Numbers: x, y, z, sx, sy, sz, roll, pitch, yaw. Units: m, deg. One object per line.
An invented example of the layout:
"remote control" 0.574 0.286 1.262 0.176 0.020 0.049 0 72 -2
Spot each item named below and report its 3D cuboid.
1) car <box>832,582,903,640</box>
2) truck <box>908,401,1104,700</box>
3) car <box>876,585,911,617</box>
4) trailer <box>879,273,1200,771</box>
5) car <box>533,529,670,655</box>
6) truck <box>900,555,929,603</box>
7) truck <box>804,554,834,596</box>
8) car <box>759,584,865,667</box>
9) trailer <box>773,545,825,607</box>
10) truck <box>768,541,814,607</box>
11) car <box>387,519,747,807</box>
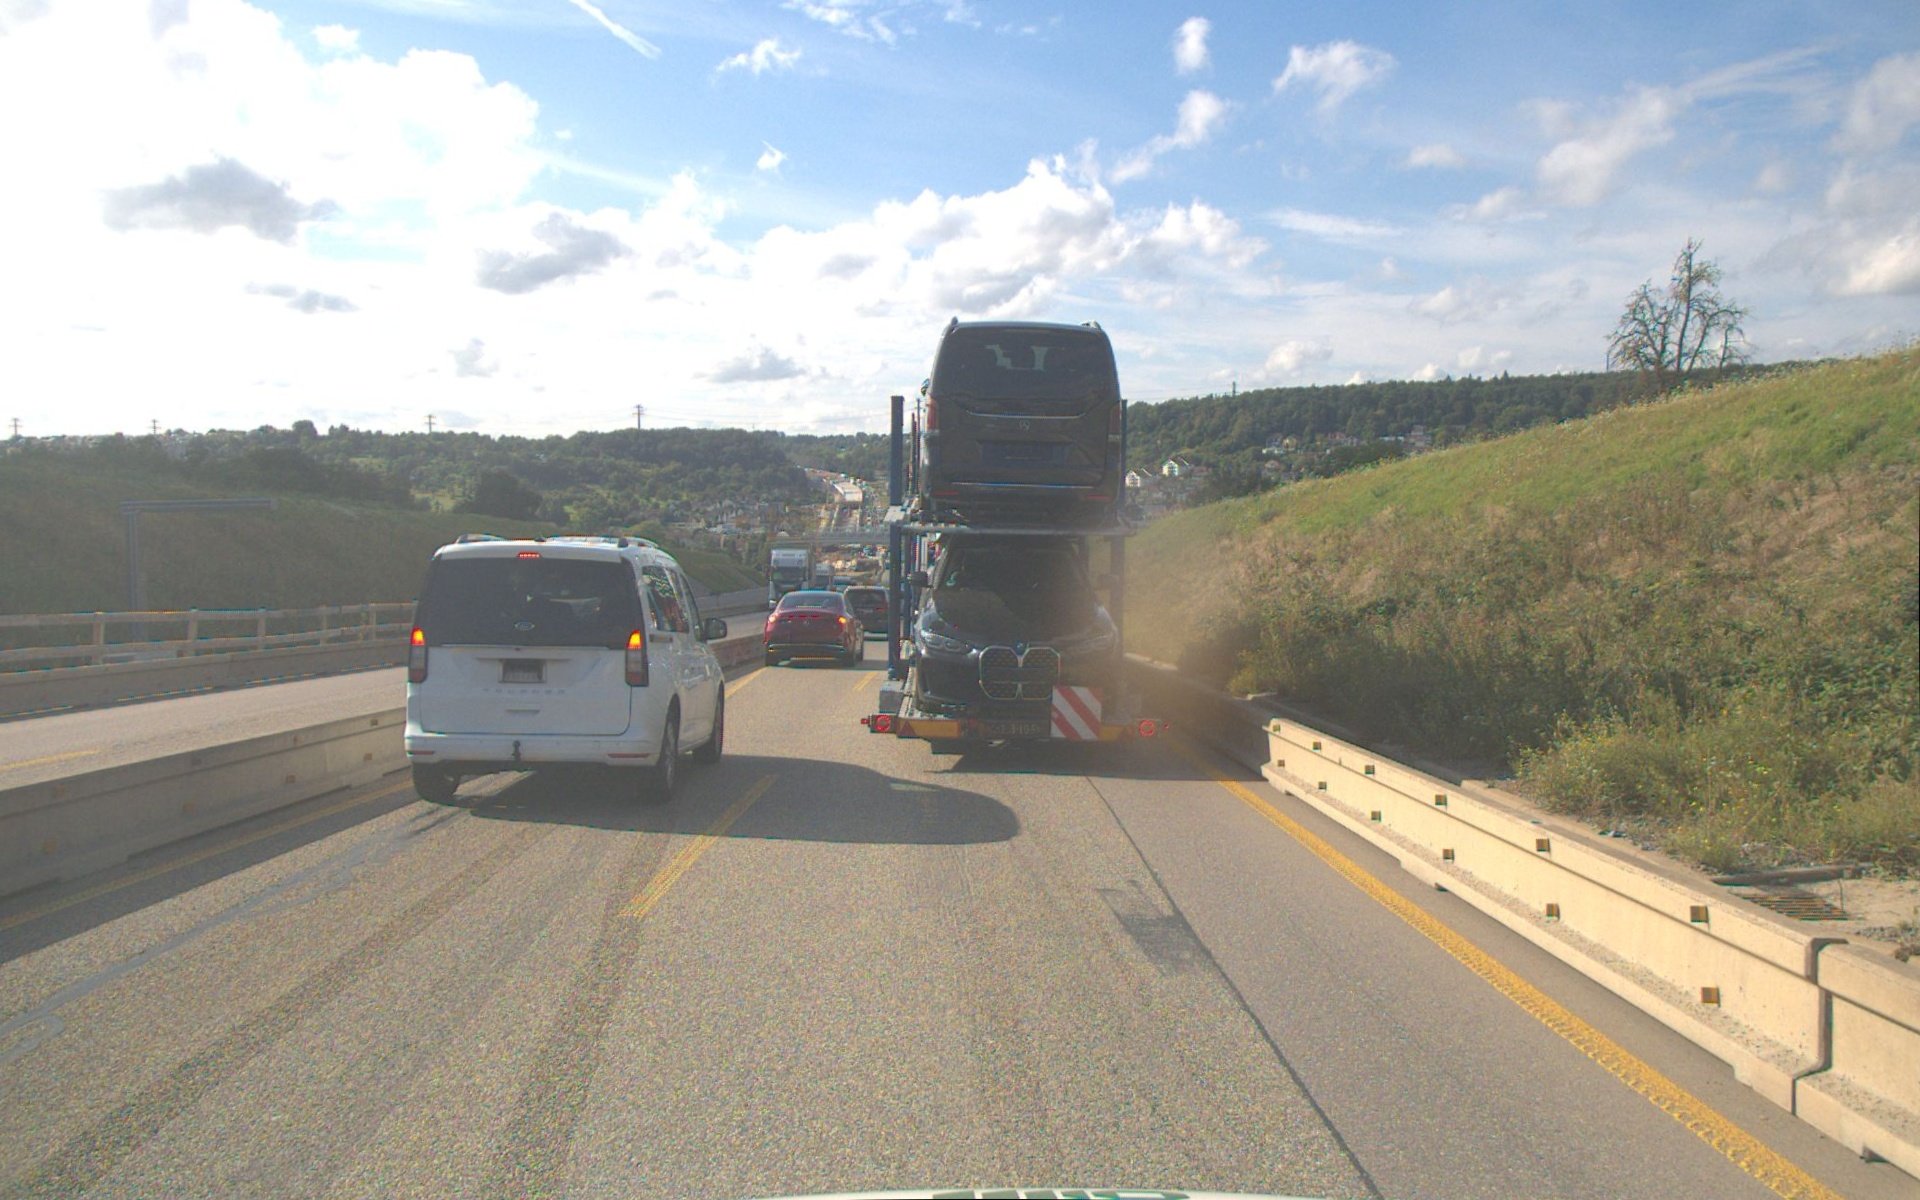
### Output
"car" -2.853 0.311 51.814 1.953 1.653 4.749 2 0 -1
"truck" 0.563 -0.687 25.166 2.623 3.990 6.026 0 0 -1
"car" -3.488 0.033 87.207 1.760 1.624 4.741 1 0 -2
"trailer" 0.613 -0.685 19.357 2.653 4.099 11.418 0 0 0
"car" -8.988 -0.194 42.093 2.067 2.885 6.138 -3 0 0
"truck" -4.586 -2.075 167.212 2.806 4.650 11.654 0 0 -2
"truck" -14.306 -2.512 168.288 2.585 4.171 10.813 0 0 -2
"car" -2.970 0.467 34.032 1.786 1.518 4.684 1 1 -1
"trailer" -11.139 -1.637 115.606 2.561 4.023 13.871 0 0 -1
"truck" -11.068 -1.709 108.770 2.561 4.226 5.780 0 0 -1
"car" -2.868 0.383 13.099 1.786 1.855 4.456 1 1 0
